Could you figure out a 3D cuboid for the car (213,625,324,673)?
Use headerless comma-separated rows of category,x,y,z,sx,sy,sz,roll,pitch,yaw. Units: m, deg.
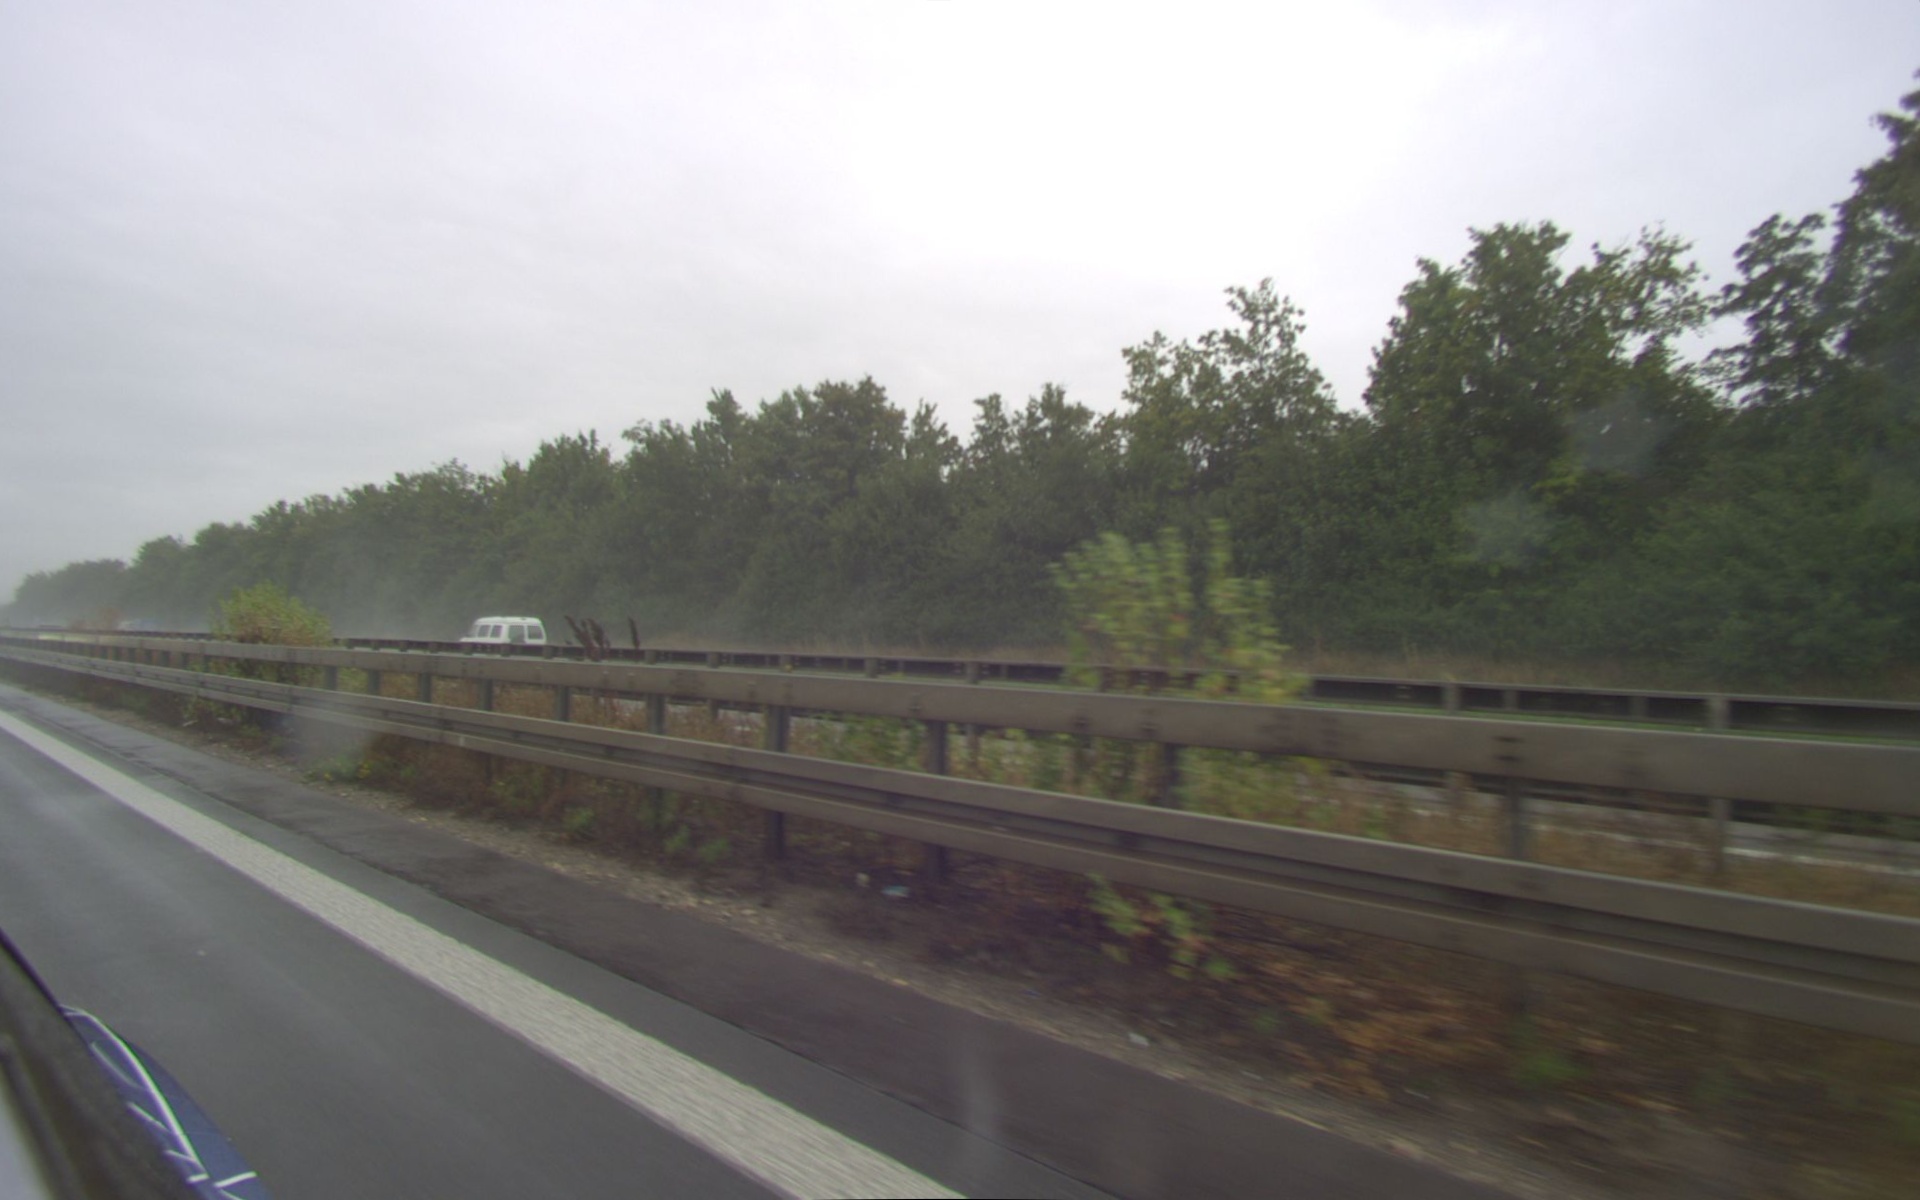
car,-23.872,1.635,34.887,4.514,1.462,1.974,0,0,39

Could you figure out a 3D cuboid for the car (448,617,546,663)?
car,-18.667,1.580,40.700,4.660,1.675,1.717,0,0,39

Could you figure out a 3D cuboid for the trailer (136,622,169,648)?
trailer,-68.012,2.955,85.218,4.016,2.029,1.400,-3,-2,40
